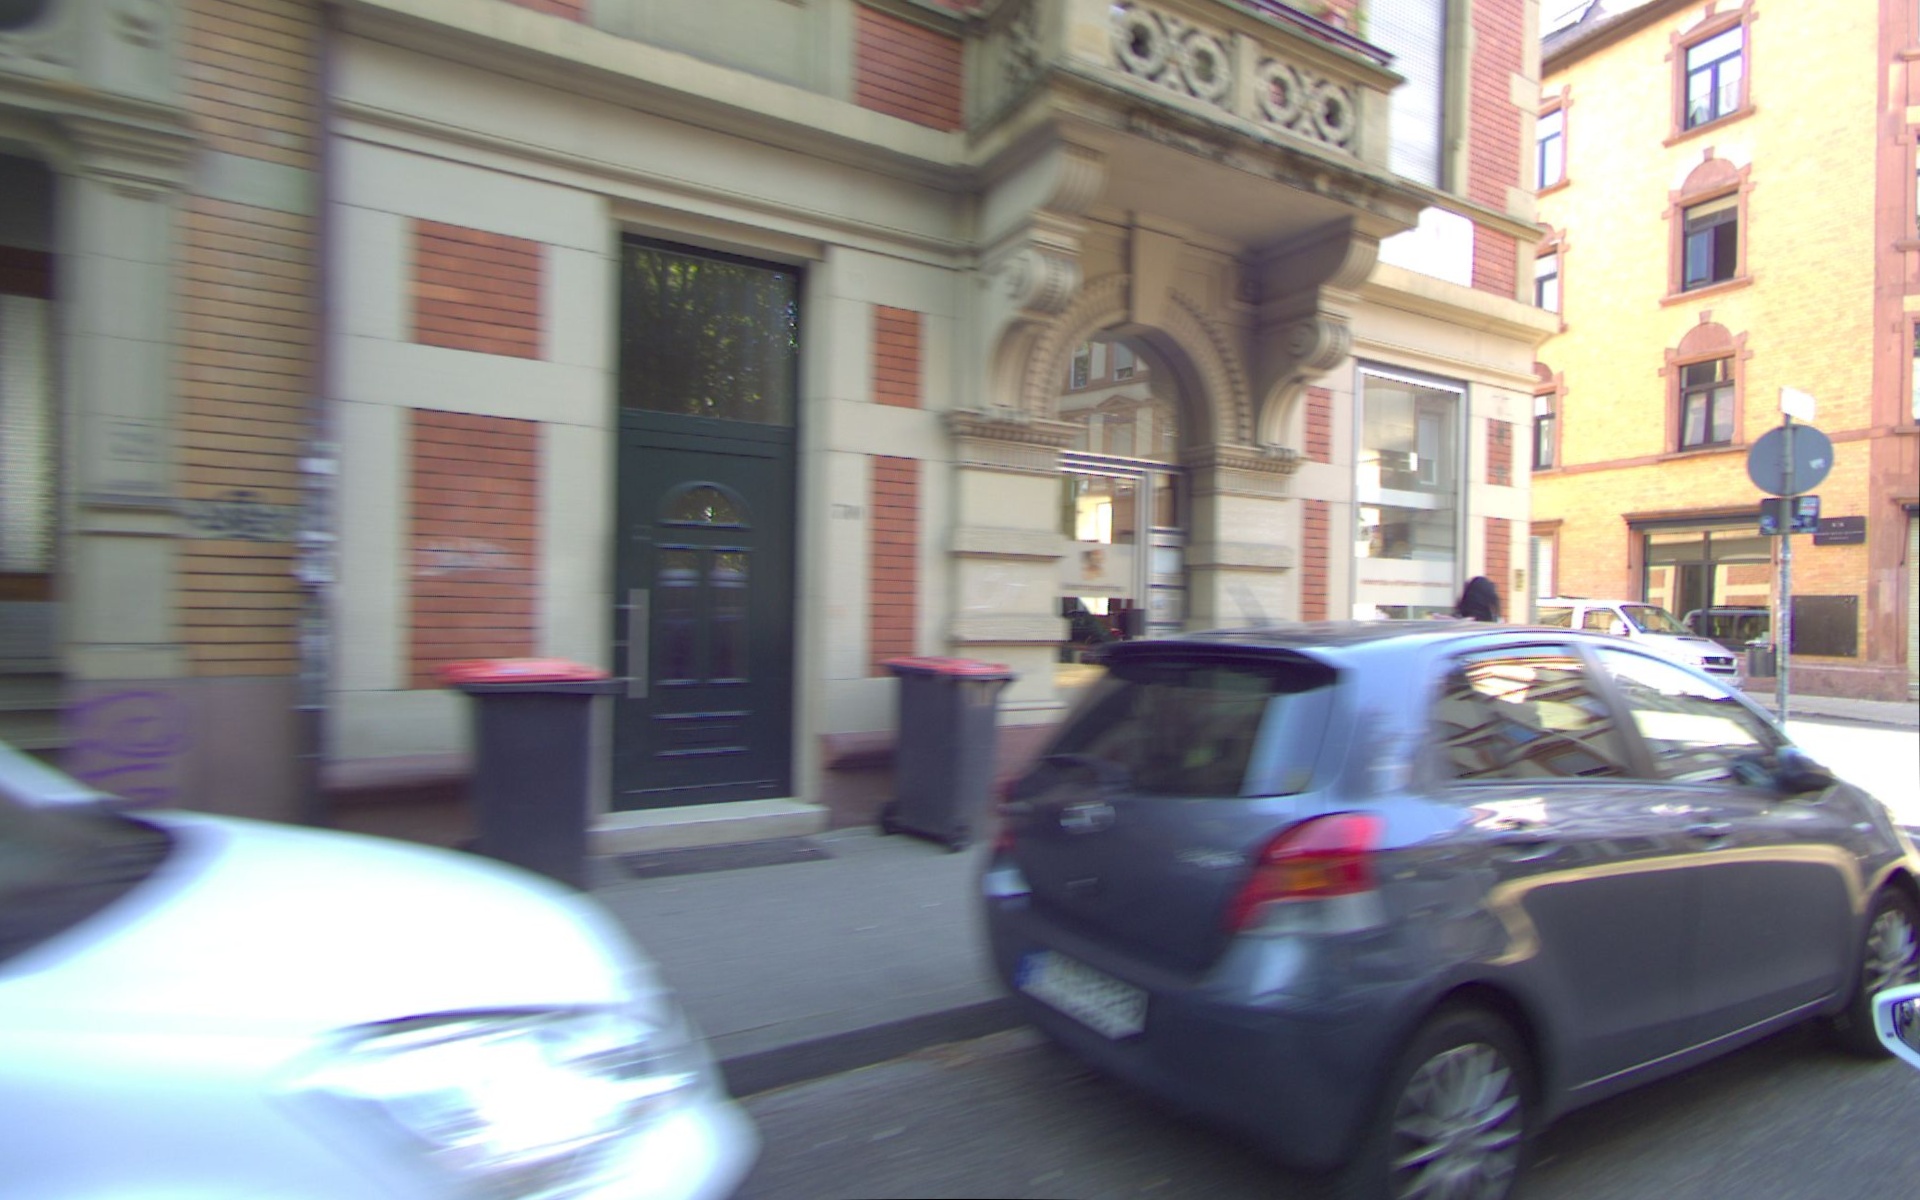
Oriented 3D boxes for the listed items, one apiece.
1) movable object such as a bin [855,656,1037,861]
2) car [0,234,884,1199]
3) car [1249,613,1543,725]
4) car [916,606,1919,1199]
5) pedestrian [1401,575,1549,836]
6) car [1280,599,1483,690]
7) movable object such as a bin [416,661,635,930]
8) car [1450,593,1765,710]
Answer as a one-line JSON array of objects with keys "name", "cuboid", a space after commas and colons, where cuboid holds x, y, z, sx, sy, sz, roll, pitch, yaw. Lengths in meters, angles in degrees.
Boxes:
[{"name": "movable object such as a bin", "cuboid": [-0.091, 0.884, 5.915, 0.846, 1.055, 0.634, 1, 2, -30]}, {"name": "car", "cuboid": [-2.493, 0.590, 0.994, 4.519, 1.835, 1.822, 1, -2, -31]}, {"name": "car", "cuboid": [7.067, 1.060, 16.829, 1.842, 1.550, 4.416, 4, -2, -24]}, {"name": "car", "cuboid": [1.956, 0.824, 3.659, 3.927, 1.500, 1.684, 1, -2, -31]}, {"name": "pedestrian", "cuboid": [3.507, 0.691, 6.846, 0.709, 1.666, 0.545, 3, -1, -30]}, {"name": "car", "cuboid": [9.930, 1.008, 24.067, 1.913, 1.919, 4.339, 4, -2, -23]}, {"name": "movable object such as a bin", "cuboid": [-2.017, 0.839, 4.641, 0.846, 1.055, 0.634, 1, 2, -30]}, {"name": "car", "cuboid": [12.049, 0.915, 19.113, 1.999, 1.919, 4.699, 3, -2, -24]}]
